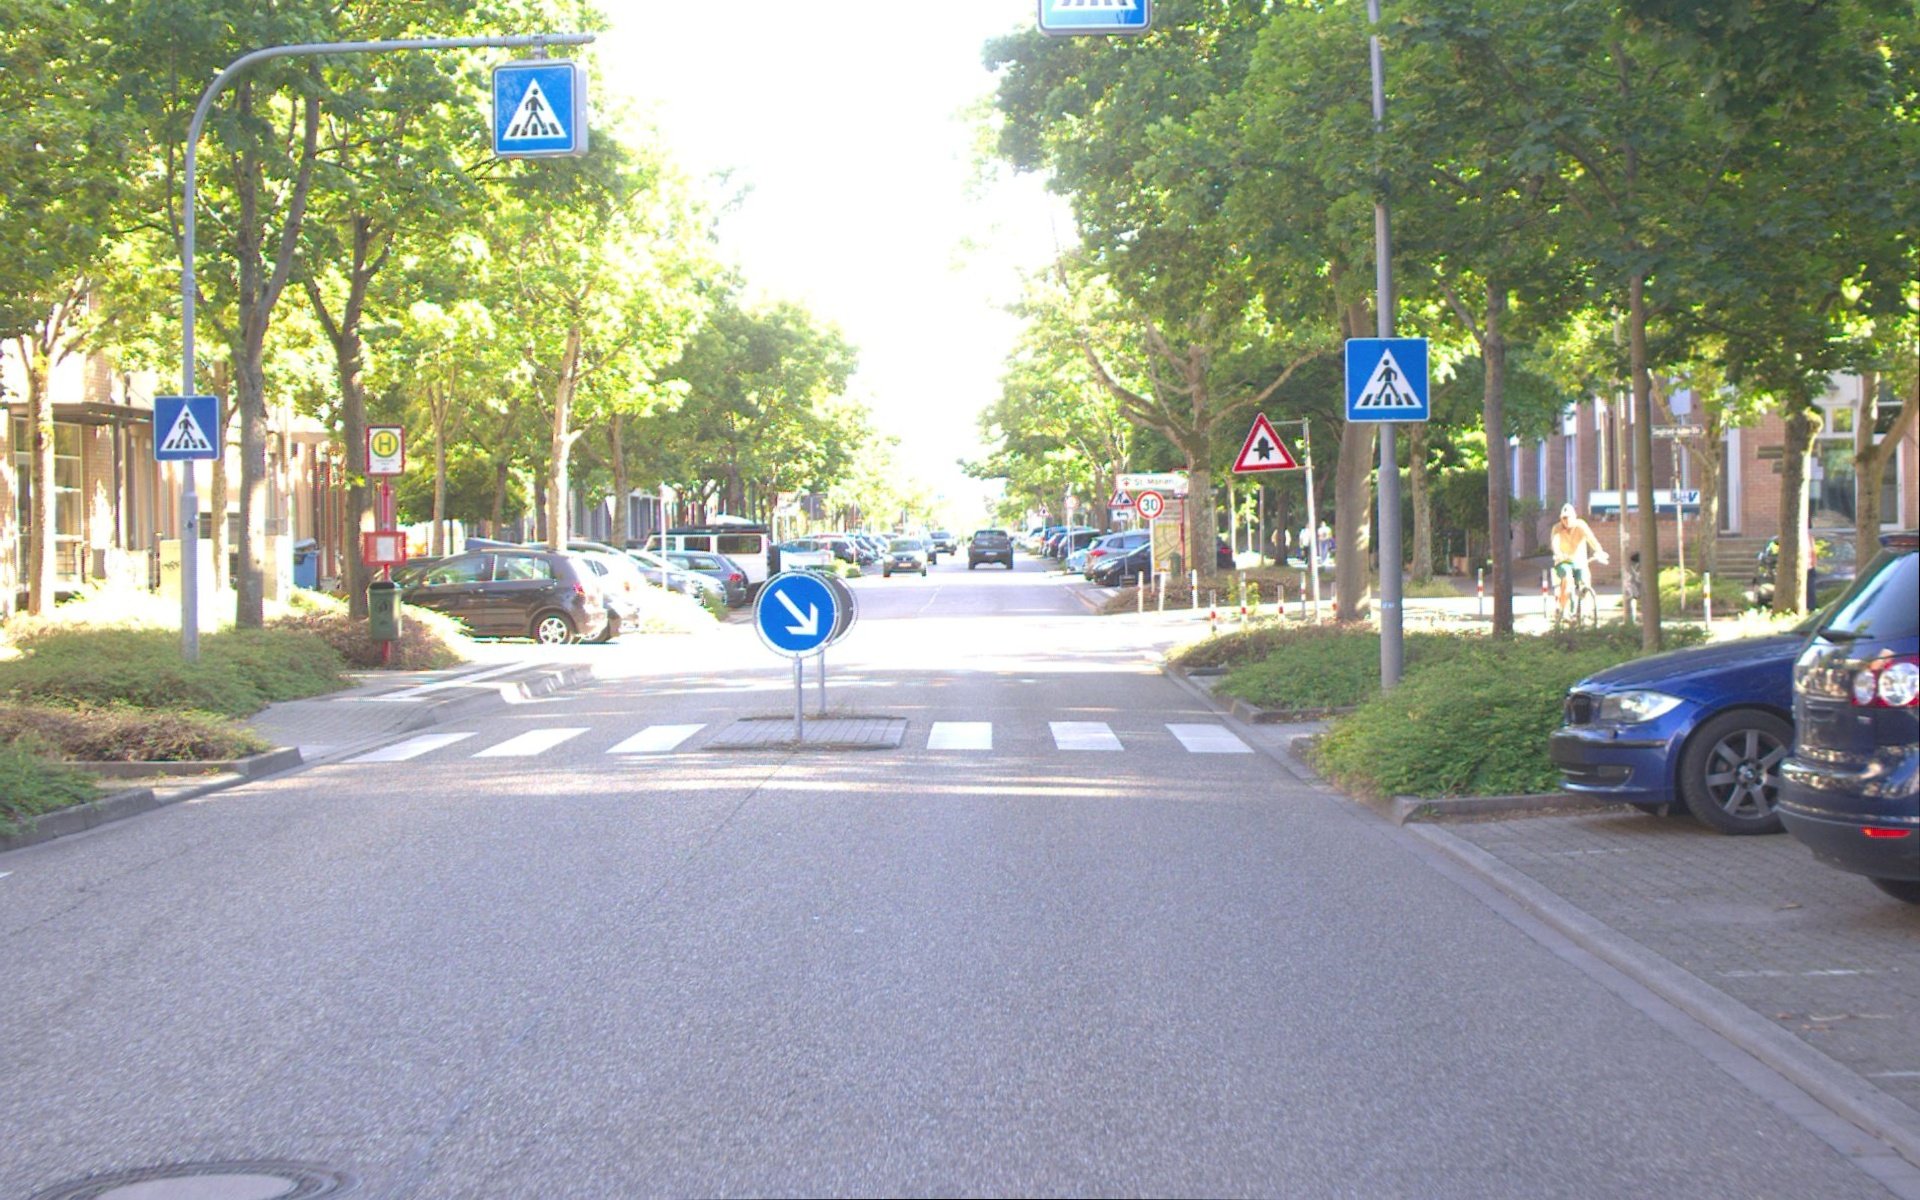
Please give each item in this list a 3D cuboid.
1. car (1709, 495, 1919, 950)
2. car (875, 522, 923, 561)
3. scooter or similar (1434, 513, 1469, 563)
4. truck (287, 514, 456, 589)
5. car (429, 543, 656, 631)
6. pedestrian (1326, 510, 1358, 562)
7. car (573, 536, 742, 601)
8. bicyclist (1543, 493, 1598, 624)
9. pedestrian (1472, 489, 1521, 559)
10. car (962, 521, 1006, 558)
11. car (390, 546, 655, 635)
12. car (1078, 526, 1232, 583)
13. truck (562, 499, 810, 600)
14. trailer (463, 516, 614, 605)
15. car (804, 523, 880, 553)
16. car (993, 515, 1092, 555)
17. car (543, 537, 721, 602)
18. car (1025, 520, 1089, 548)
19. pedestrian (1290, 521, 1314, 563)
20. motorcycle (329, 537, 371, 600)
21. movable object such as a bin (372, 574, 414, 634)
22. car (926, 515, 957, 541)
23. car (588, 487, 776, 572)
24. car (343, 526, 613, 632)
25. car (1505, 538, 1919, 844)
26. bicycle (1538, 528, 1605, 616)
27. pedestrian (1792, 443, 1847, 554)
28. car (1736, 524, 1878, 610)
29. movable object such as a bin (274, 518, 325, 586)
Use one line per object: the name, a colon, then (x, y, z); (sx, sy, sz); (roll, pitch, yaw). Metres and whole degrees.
car: (5.140, 0.323, 13.022); (4.124, 1.584, 1.660); (-3, 0, -3)
car: (-2.431, -2.352, 137.208); (1.779, 1.506, 4.000); (-1, 1, 1)
scooter or similar: (13.246, -1.663, 92.648); (0.549, 1.321, 1.806); (0, 1, -5)
truck: (-22.390, -1.860, 131.043); (6.103, 2.695, 2.578); (-2, 1, -5)
car: (-7.295, -0.239, 60.272); (3.754, 1.447, 1.754); (1, 1, 0)
pedestrian: (12.915, -2.162, 116.204); (0.695, 1.705, 0.921); (-5, 2, -10)
car: (-7.125, -0.747, 81.272); (3.778, 1.487, 1.833); (0, 1, 2)
bicyclist: (7.716, -0.530, 43.478); (0.537, 1.631, 0.822); (-1, 1, 1)
pedestrian: (13.581, -1.917, 87.053); (0.917, 1.705, 0.698); (-5, 2, -12)
car: (1.071, -2.737, 155.788); (1.933, 1.592, 4.366); (-2, 1, 0)
car: (-7.230, -0.173, 57.107); (4.151, 1.398, 1.801); (1, 1, 0)
car: (5.875, -1.372, 103.971); (4.351, 1.592, 1.940); (-2, 1, -5)
truck: (-7.131, -1.325, 90.034); (6.232, 2.413, 2.187); (-2, 1, 1)
trailer: (-8.221, -0.784, 67.200); (2.725, 1.681, 1.712); (0, 1, 1)
car: (-6.135, -3.218, 179.016); (3.892, 1.459, 1.858); (-1, 1, 0)
car: (3.659, -2.878, 152.692); (4.267, 1.628, 1.858); (-2, 1, -2)
car: (-7.509, -0.712, 78.956); (3.835, 1.456, 1.732); (0, 1, 4)
car: (6.324, -4.313, 224.586); (3.986, 1.786, 2.000); (-1, 1, -4)
pedestrian: (12.018, -2.035, 120.881); (0.700, 1.453, 0.715); (-2, 1, -2)
motorcycle: (-15.783, -0.835, 89.026); (0.714, 1.585, 2.110); (-2, 1, -1)
movable object such as a bin: (-6.946, 0.050, 42.113); (0.441, 0.728, 0.408); (0, 1, 1)
car: (-1.201, -4.745, 225.846); (1.892, 1.678, 4.353); (-2, 1, -2)
car: (-6.790, -1.731, 84.415); (4.481, 2.044, 2.000); (0, 1, -1)
car: (-7.572, -0.344, 54.250); (3.987, 1.565, 1.728); (1, 1, 0)
car: (5.042, 0.373, 17.639); (4.115, 1.366, 1.655); (-3, 1, -3)
bicycle: (7.716, -0.367, 43.464); (0.534, 1.074, 1.920); (-1, 1, 1)
pedestrian: (12.308, -1.453, 49.234); (0.537, 1.577, 0.648); (-1, 1, -9)
car: (15.575, -0.630, 63.378); (1.652, 1.457, 3.918); (-1, 2, 0)
movable object such as a bin: (-16.132, -1.181, 83.934); (1.144, 1.614, 1.442); (-1, 1, -12)
